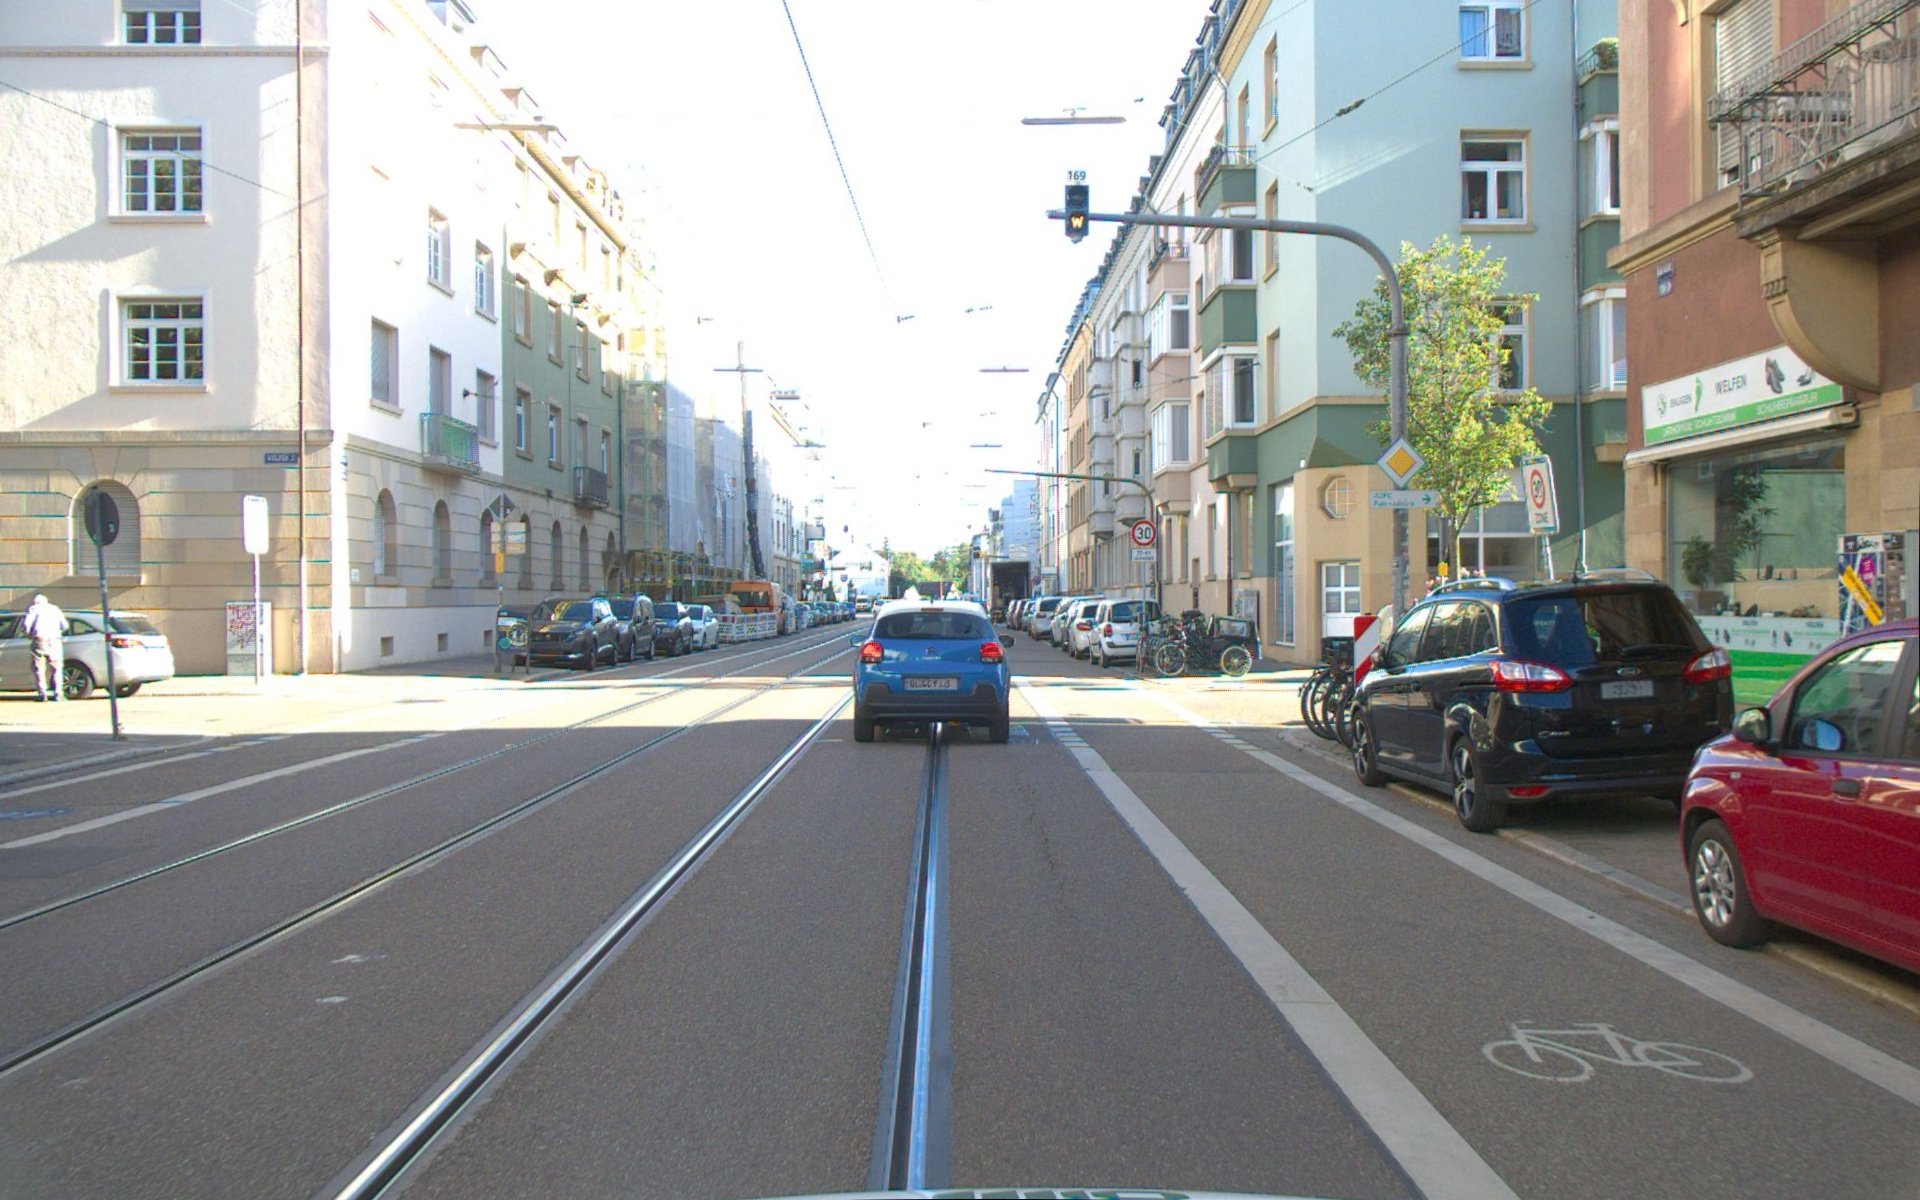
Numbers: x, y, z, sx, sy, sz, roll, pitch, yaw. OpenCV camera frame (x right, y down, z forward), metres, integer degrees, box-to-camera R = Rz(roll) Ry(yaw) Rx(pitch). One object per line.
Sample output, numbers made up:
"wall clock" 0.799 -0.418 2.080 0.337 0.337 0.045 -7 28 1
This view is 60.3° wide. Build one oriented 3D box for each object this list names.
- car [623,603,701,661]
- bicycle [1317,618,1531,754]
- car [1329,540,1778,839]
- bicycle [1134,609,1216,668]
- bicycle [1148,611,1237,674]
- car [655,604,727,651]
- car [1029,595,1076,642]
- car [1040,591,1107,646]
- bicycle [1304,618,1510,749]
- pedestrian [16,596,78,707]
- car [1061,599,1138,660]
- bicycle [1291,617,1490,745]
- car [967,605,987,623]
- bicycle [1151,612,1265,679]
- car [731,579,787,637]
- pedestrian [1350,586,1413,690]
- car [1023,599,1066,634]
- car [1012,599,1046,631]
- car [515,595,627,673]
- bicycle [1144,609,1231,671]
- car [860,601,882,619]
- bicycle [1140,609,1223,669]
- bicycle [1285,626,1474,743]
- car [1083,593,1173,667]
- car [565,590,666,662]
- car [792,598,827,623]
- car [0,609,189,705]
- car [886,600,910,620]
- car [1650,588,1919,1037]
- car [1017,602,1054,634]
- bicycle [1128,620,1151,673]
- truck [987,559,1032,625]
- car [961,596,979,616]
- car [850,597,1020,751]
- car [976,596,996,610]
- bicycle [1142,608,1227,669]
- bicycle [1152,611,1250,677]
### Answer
"car" -9.207 0.957 51.444 1.747 1.655 4.607 1 0 -2
"bicycle" 4.531 0.833 16.224 1.919 1.248 0.527 -2 0 0
"car" 4.235 0.562 12.653 1.717 1.766 4.506 -4 0 0
"bicycle" 4.746 0.855 36.595 1.688 1.174 0.469 -4 0 0
"bicycle" 4.789 0.868 34.120 1.688 1.174 0.469 -4 0 0
"car" -9.339 0.935 57.717 1.683 1.529 4.388 1 0 1
"car" 3.831 0.755 69.101 1.695 1.859 4.686 -1 0 0
"car" 3.844 0.625 56.712 1.622 1.782 4.598 -1 0 -5
"bicycle" 4.521 0.836 16.796 1.919 1.248 0.527 -2 0 0
"pedestrian" -14.622 0.813 26.500 0.594 1.742 0.731 -1 0 -1
"car" 3.818 0.784 45.877 1.747 1.603 4.326 -1 0 0
"bicycle" 4.499 0.839 17.356 1.919 1.248 0.527 -2 0 0
"car" 1.464 1.205 144.196 1.729 1.513 4.031 -1 0 0
"bicycle" 4.809 0.878 32.182 2.044 1.174 0.848 -3 0 0
"car" -9.043 0.347 74.863 2.101 2.519 4.977 -1 0 -2
"pedestrian" 6.881 0.622 27.036 0.717 1.662 0.700 2 -2 -16
"car" 3.801 0.726 74.830 1.687 1.513 4.221 -1 0 0
"car" 3.697 0.805 89.215 1.630 1.676 4.221 -1 0 0
"car" -9.330 0.774 40.055 1.747 1.720 4.665 1 0 -2
"bicycle" 4.766 0.827 34.667 1.688 1.174 0.469 -4 0 0
"car" -8.460 0.969 157.265 1.788 1.660 4.045 -1 0 0
"bicycle" 4.814 0.845 35.969 1.688 1.174 0.469 -4 0 0
"bicycle" 4.532 0.911 17.936 1.884 1.181 0.527 -2 0 0
"car" 4.027 0.695 40.084 1.747 1.660 4.000 -1 0 0
"car" -9.386 0.679 45.413 1.746 1.848 4.528 1 0 1
"car" -10.511 0.746 115.496 2.101 1.650 3.999 -1 0 -1
"car" -15.481 0.945 27.855 4.131 1.490 1.782 -1 1 -1
"car" -5.197 0.841 138.709 1.788 1.660 4.490 -1 0 0
"car" 4.330 0.760 6.495 1.717 1.622 3.730 0 0 1
"car" 3.829 0.895 84.371 1.630 1.546 4.221 -1 0 0
"bicycle" 3.807 0.970 35.137 0.345 1.063 1.728 -1 0 1
"truck" 3.244 -0.512 110.939 2.794 4.154 11.271 -1 0 1
"car" 1.232 0.746 203.293 2.174 2.324 4.083 -1 0 0
"car" -0.263 0.755 18.888 1.699 1.534 3.992 1 0 0
"car" 2.936 0.327 188.796 2.136 1.513 4.159 -1 0 0
"bicycle" 4.799 0.825 35.347 1.688 1.174 0.469 -4 0 0
"bicycle" 4.782 0.874 32.882 1.805 1.174 0.469 -4 0 0
